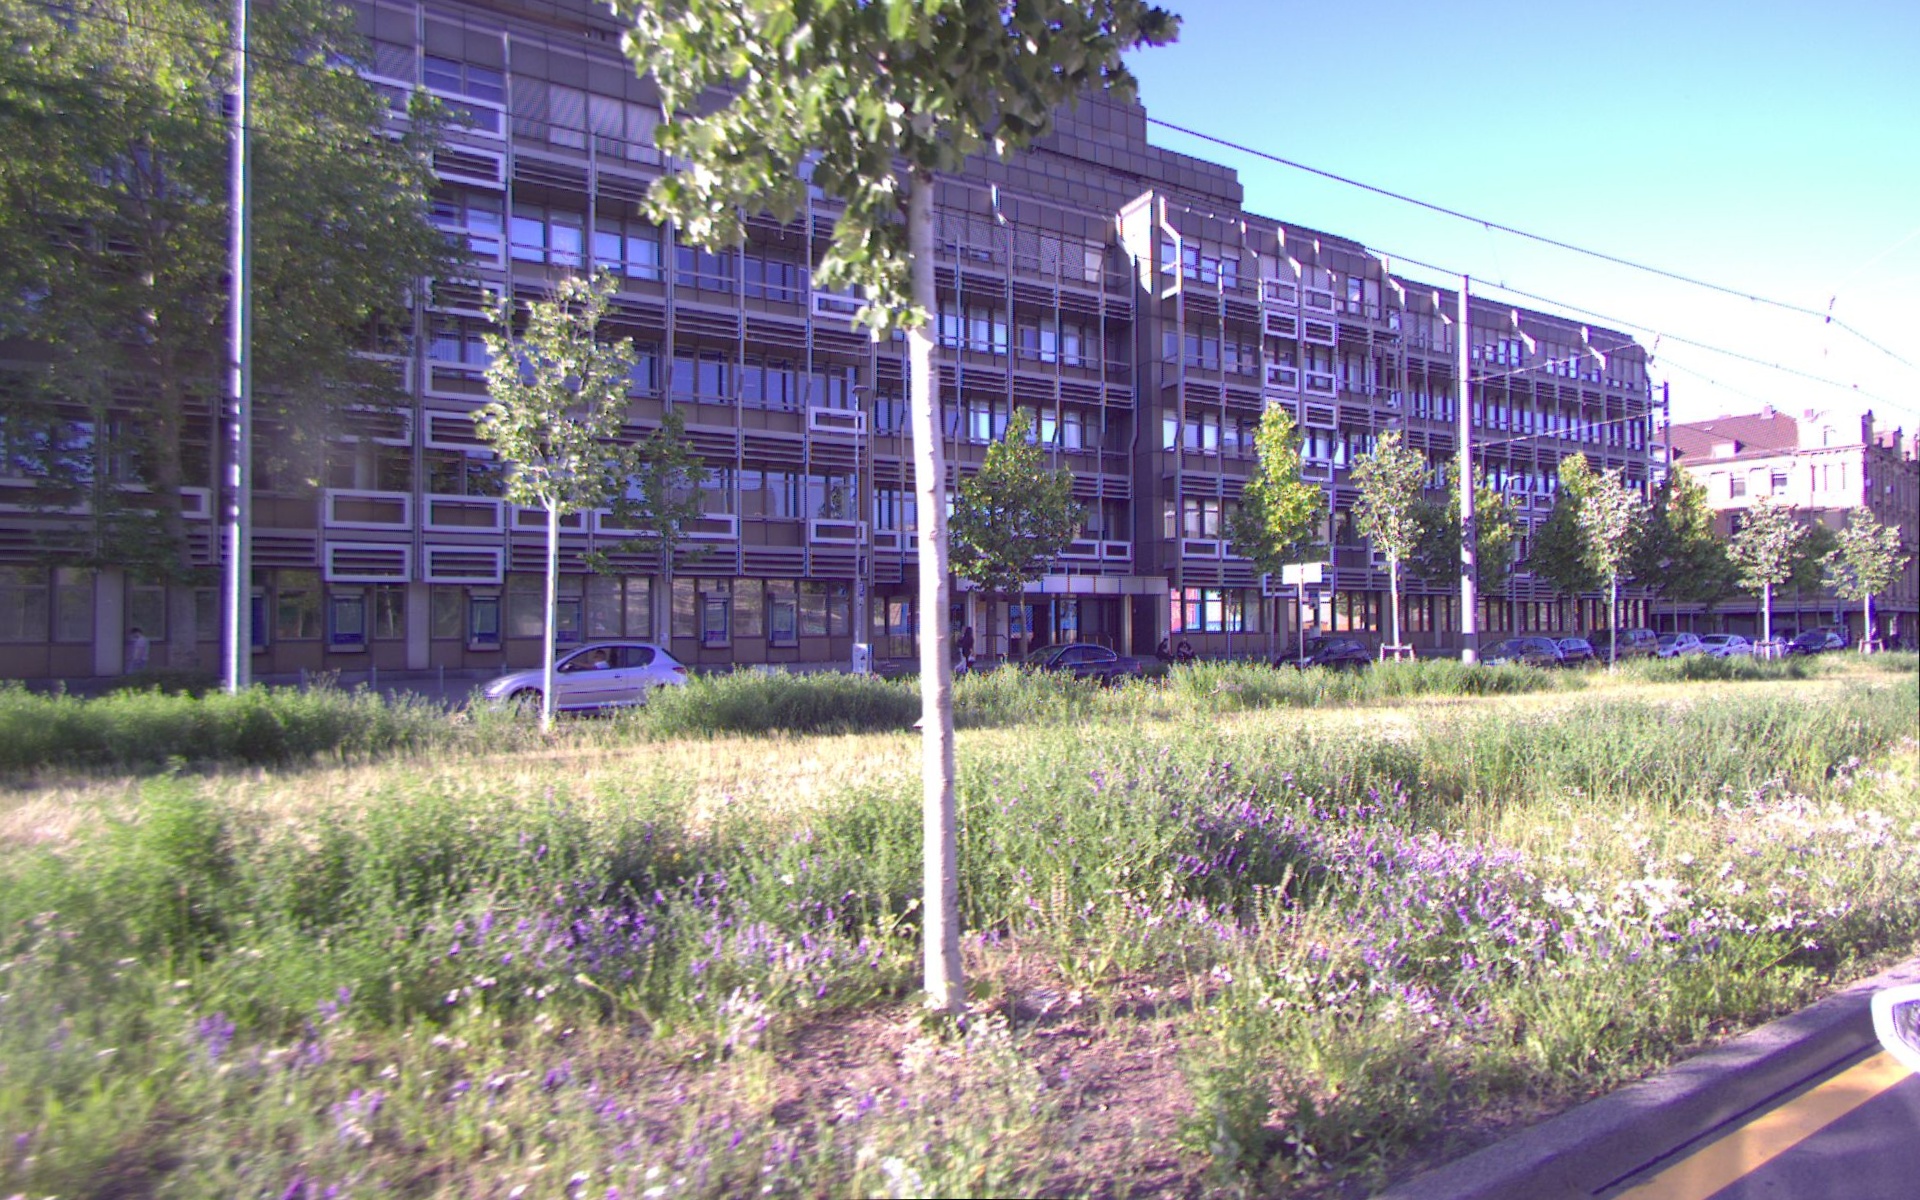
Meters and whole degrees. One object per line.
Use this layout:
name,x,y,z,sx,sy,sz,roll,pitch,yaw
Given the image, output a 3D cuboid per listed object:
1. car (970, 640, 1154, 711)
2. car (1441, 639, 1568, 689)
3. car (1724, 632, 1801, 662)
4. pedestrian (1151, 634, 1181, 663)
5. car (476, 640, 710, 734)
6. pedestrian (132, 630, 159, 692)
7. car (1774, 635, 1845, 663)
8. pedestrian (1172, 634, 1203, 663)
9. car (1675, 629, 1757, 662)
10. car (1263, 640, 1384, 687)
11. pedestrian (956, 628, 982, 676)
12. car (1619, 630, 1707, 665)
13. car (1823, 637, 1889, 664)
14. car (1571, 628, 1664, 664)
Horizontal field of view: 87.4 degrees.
car,2.590,1.832,25.280,4.358,1.596,1.895,1,-2,-30
car,18.724,2.165,34.519,4.250,1.596,1.895,1,-2,-30
car,44.152,2.577,55.275,4.250,1.596,1.895,1,-2,-30
pedestrian,8.604,2.021,41.949,0.855,1.184,0.896,1,-2,-28
car,-7.004,1.572,19.218,3.953,1.596,1.895,1,-2,-30
pedestrian,-21.319,1.591,26.296,0.441,1.582,0.407,1,-2,-28
car,50.369,2.884,59.529,4.250,1.596,1.895,1,-2,-30
pedestrian,9.584,2.037,42.377,0.888,1.184,0.896,1,-2,-28
car,39.213,2.342,52.082,4.250,1.596,1.895,1,-2,-30
car,13.242,2.258,36.558,4.250,1.596,1.895,1,-2,-30
pedestrian,0.299,1.732,33.575,0.642,1.552,0.661,1,-2,-30
car,34.343,2.292,49.044,4.250,1.596,1.895,1,-2,-30
car,56.895,3.197,63.789,4.250,1.596,1.895,1,-2,-30
car,30.617,2.120,46.753,4.250,1.596,1.895,1,-2,-30
